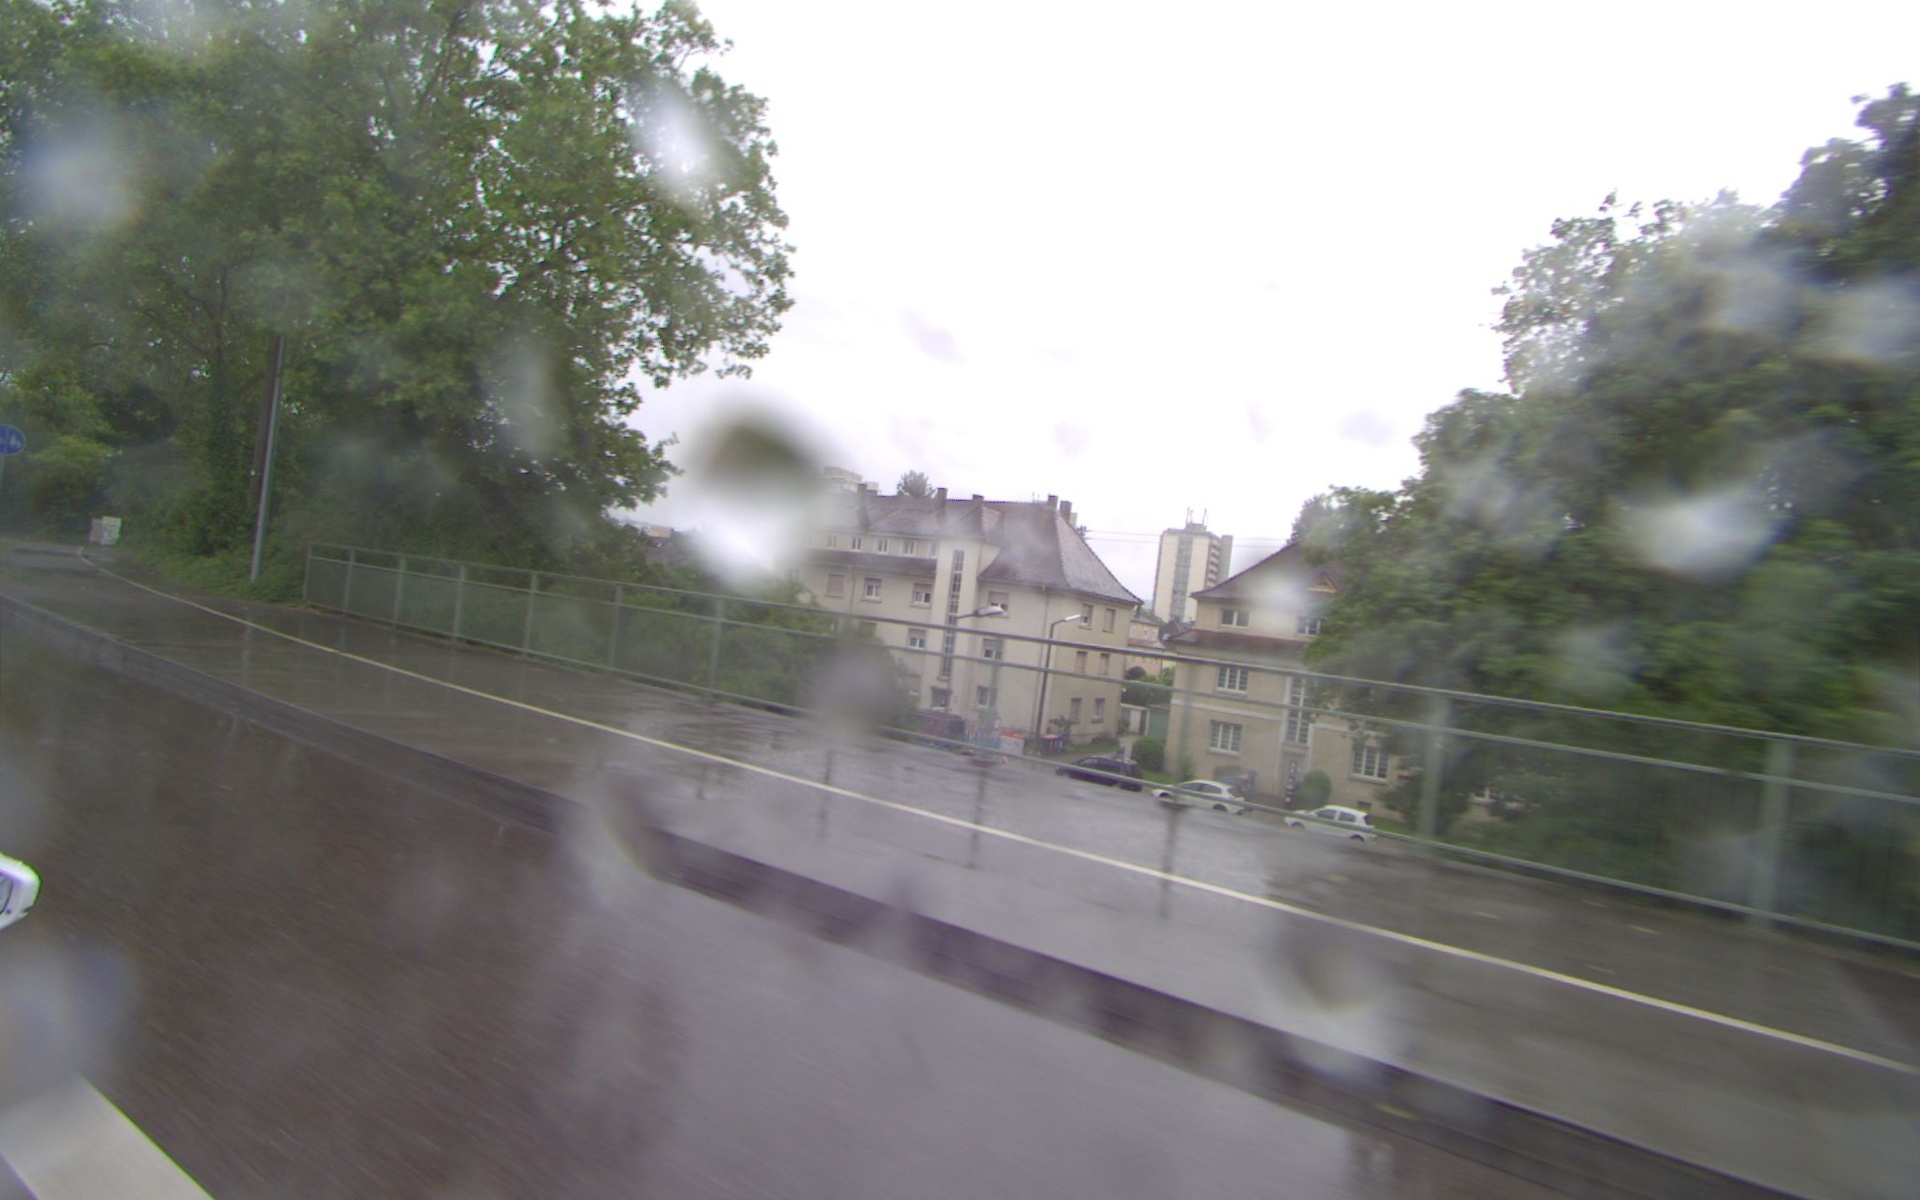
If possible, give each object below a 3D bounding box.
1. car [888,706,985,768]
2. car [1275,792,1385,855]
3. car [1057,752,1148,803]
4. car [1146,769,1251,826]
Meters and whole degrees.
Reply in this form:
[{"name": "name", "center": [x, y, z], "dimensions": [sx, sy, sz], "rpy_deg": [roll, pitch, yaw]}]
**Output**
[{"name": "car", "center": [-1.283, 7.327, 53.994], "dimensions": [4.460, 2.548, 2.243], "rpy_deg": [6, -2, 34]}, {"name": "car", "center": [15.691, 9.427, 42.655], "dimensions": [3.934, 1.681, 1.940], "rpy_deg": [6, -2, 32]}, {"name": "car", "center": [6.830, 8.466, 48.295], "dimensions": [3.807, 1.681, 1.818], "rpy_deg": [6, -2, 34]}, {"name": "car", "center": [10.831, 8.922, 45.748], "dimensions": [4.118, 1.681, 1.854], "rpy_deg": [6, -2, 34]}]
